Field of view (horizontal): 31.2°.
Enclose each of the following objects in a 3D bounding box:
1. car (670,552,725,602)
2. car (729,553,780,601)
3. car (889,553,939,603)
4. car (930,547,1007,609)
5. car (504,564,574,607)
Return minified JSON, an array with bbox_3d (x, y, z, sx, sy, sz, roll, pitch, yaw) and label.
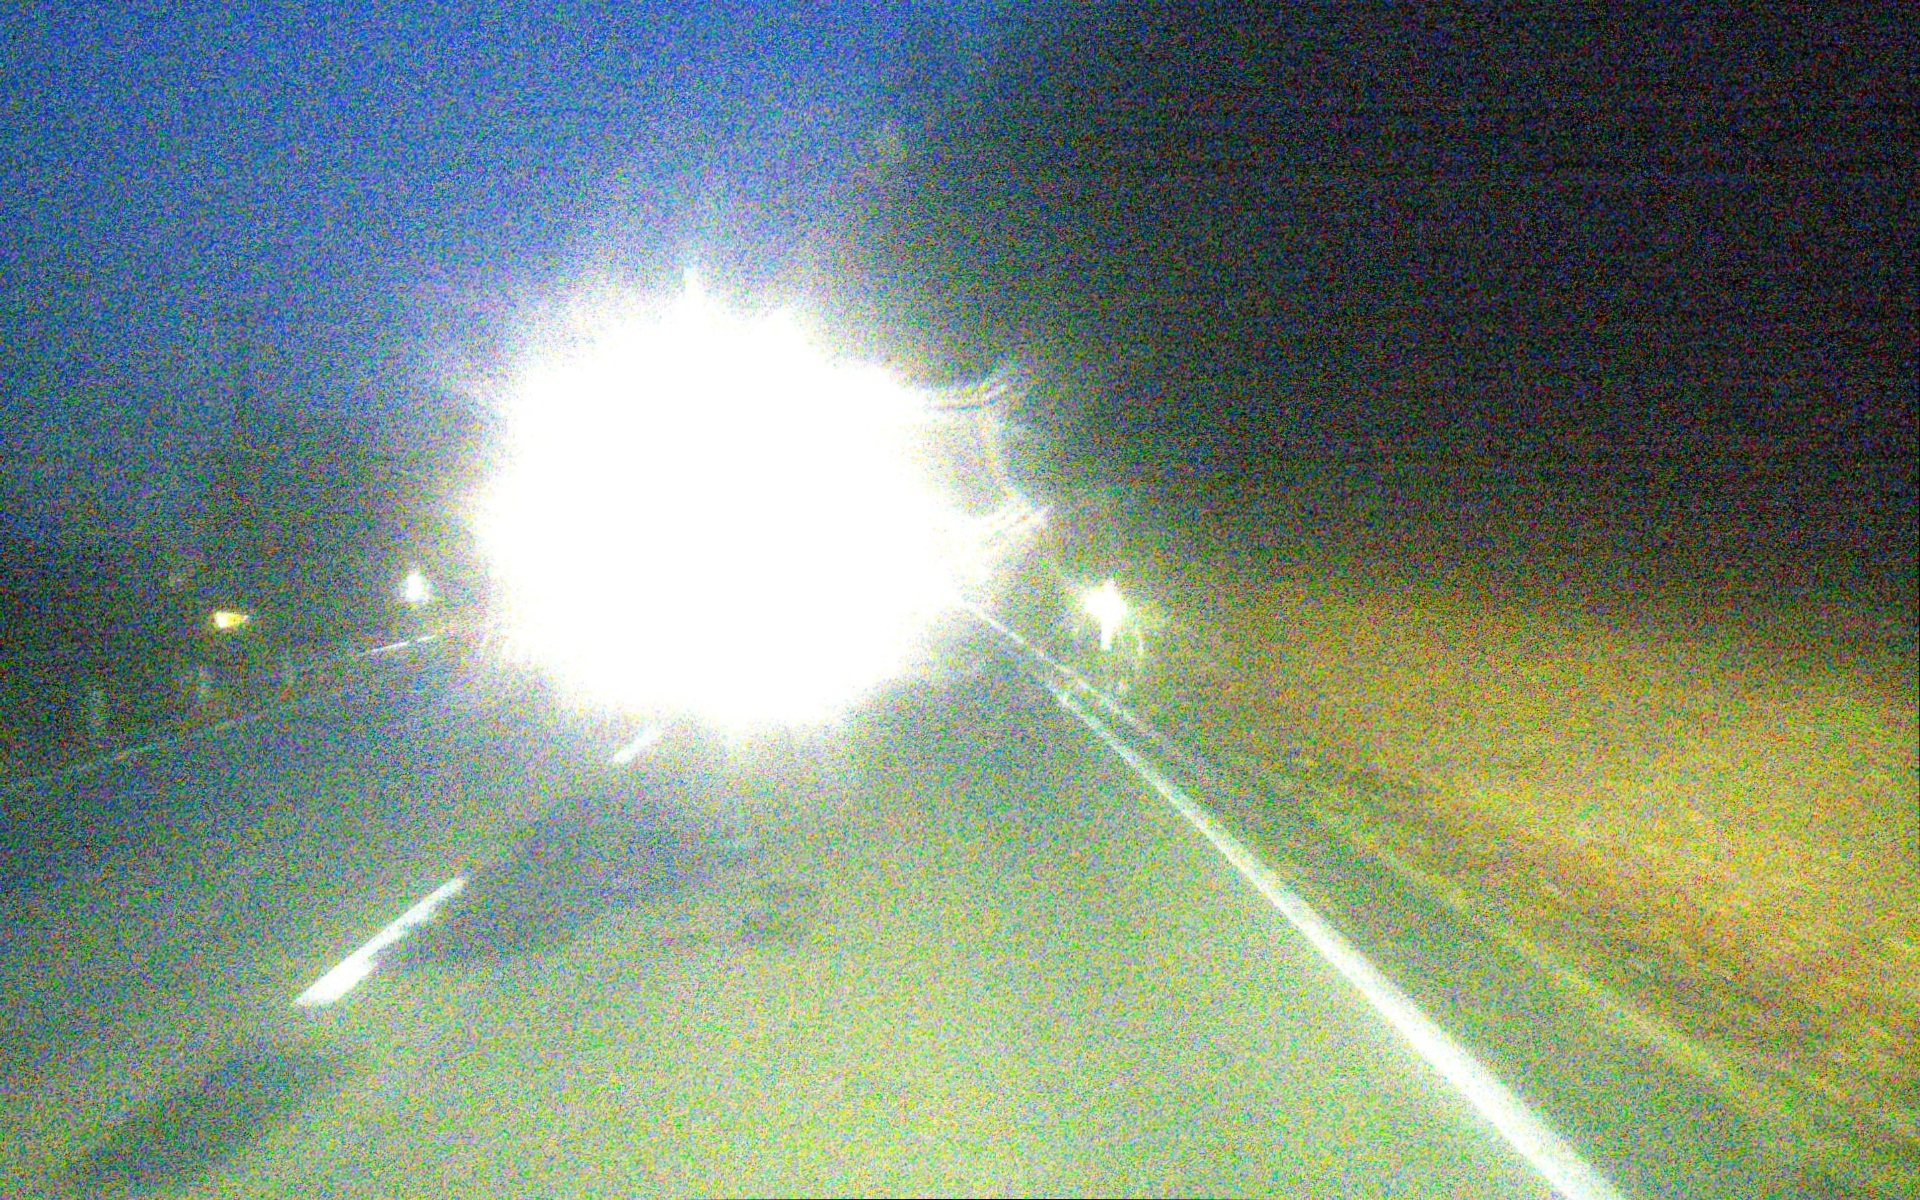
[{"bbox_3d":[-10.815,-0.972,141.824,1.993,2.007,4.000,1,1,-1],"label":"car"},{"bbox_3d":[-8.773,-0.997,147.112,1.993,2.007,4.000,1,1,-1],"label":"car"},{"bbox_3d":[-1.909,-0.936,142.468,1.993,2.007,4.000,1,1,-1],"label":"car"},{"bbox_3d":[0.255,-0.607,91.913,1.993,1.612,4.000,0,1,1],"label":"car"},{"bbox_3d":[-15.043,-0.536,123.038,1.993,1.443,4.430,1,1,-1],"label":"car"}]
